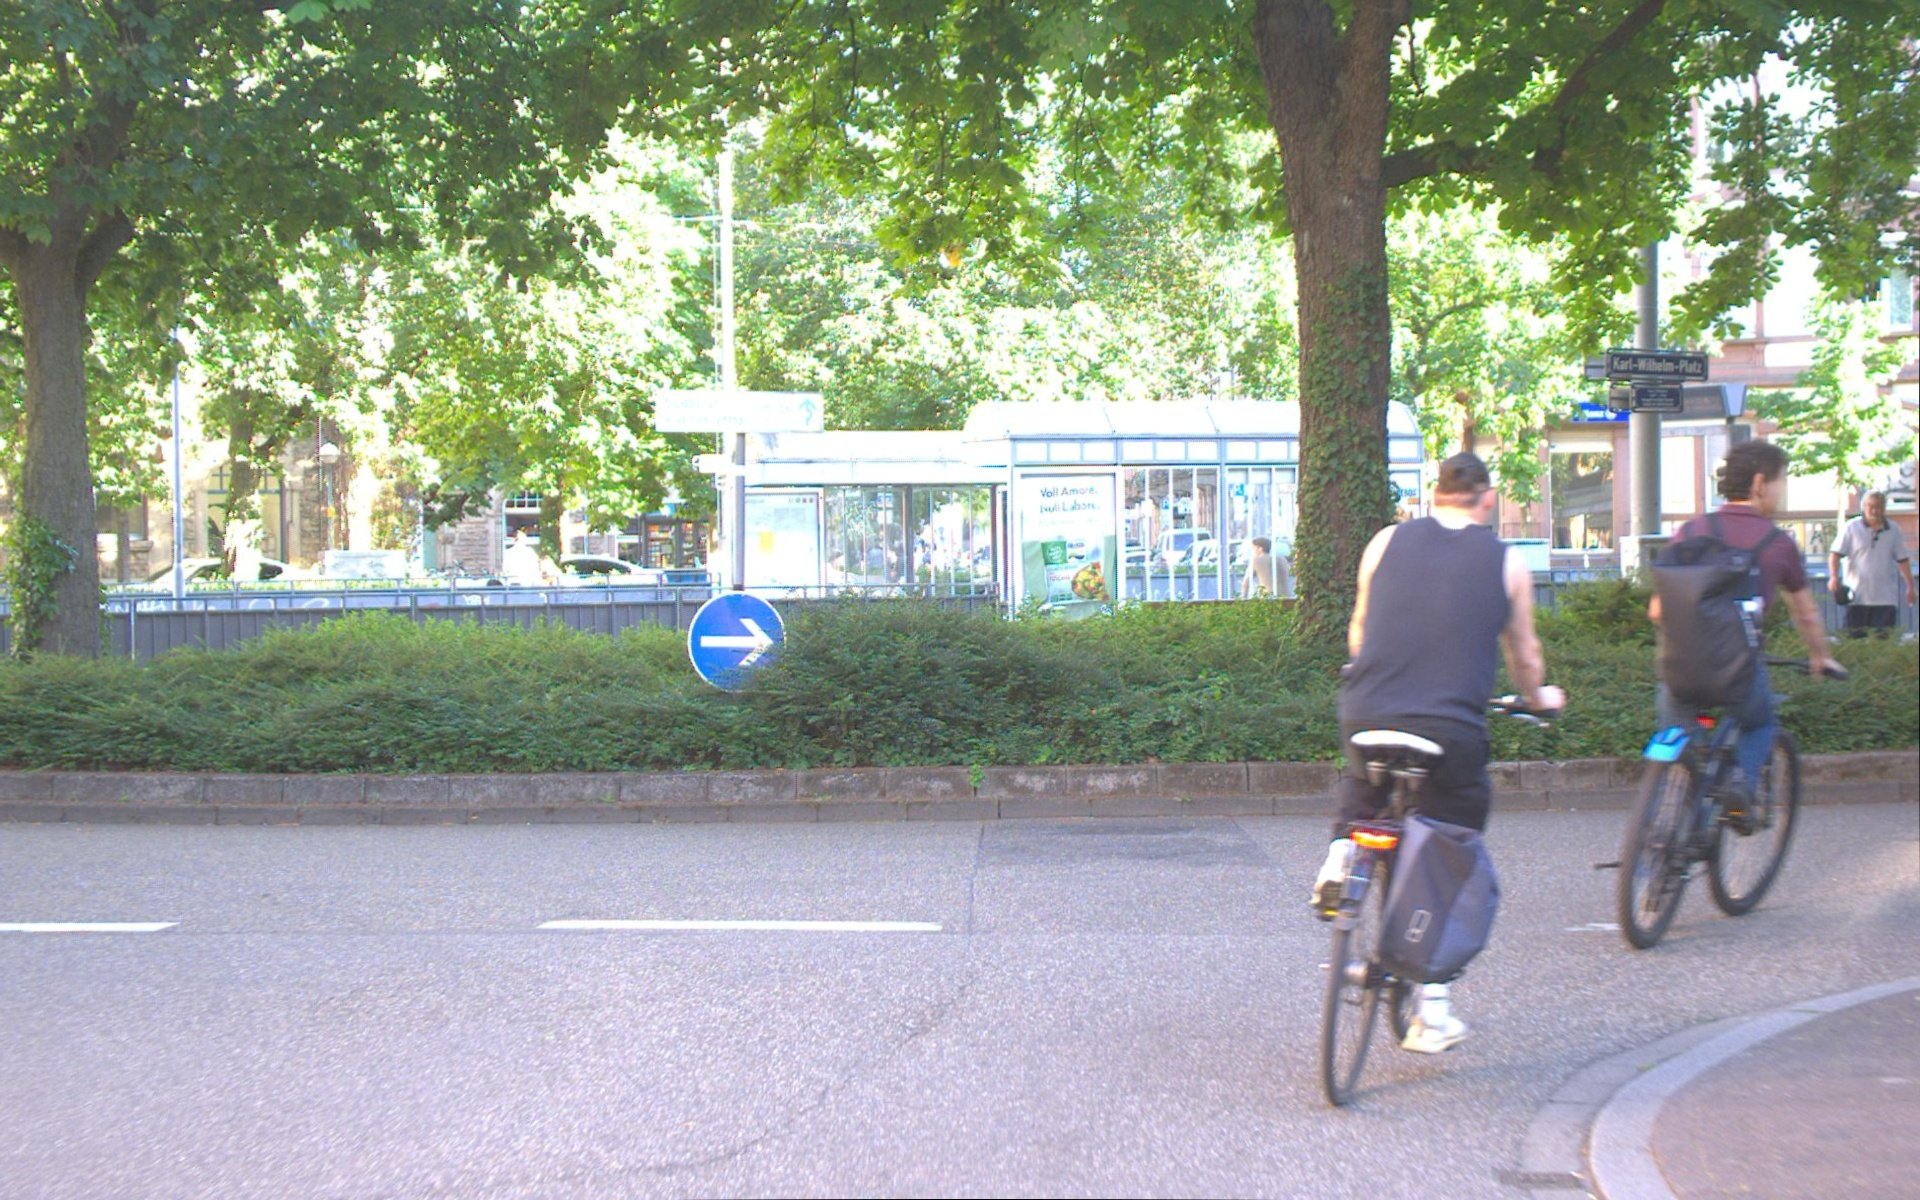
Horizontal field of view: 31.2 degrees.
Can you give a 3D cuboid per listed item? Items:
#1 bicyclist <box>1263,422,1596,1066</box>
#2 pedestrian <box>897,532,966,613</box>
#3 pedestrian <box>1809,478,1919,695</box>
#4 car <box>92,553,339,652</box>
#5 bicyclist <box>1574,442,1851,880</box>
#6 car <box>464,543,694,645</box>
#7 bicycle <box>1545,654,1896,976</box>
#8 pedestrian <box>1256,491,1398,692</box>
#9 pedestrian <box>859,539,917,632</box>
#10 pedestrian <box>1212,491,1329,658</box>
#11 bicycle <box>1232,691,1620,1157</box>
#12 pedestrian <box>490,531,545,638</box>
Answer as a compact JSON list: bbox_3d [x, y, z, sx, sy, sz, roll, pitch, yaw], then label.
[{"bbox_3d":[1.313,0.371,9.495,0.753,1.676,0.912,-1,1,17],"label":"bicyclist"},{"bbox_3d":[-0.579,-0.561,69.760,1.002,1.625,1.063,-1,1,26],"label":"pedestrian"},{"bbox_3d":[7.227,-0.115,27.188,0.916,1.678,0.780,-1,1,10],"label":"pedestrian"},{"bbox_3d":[-13.554,0.022,62.721,3.938,1.673,1.953,-2,2,-44],"label":"car"},{"bbox_3d":[2.740,0.211,12.459,0.672,1.509,1.067,-1,0,29],"label":"bicyclist"},{"bbox_3d":[-7.410,-0.138,66.876,3.986,1.864,2.000,-2,1,-26],"label":"car"},{"bbox_3d":[2.823,0.740,12.589,0.675,1.050,2.058,-1,0,29],"label":"bicycle"},{"bbox_3d":[3.125,-0.077,29.283,0.898,1.678,0.818,-1,1,33],"label":"pedestrian"},{"bbox_3d":[-1.203,-0.253,57.711,0.809,1.538,0.821,1,1,-12],"label":"pedestrian"},{"bbox_3d":[3.570,-0.300,39.612,1.016,1.891,0.912,-1,1,-22],"label":"pedestrian"},{"bbox_3d":[1.341,0.825,9.541,0.738,1.008,2.060,2,2,16],"label":"bicycle"},{"bbox_3d":[-7.101,-0.251,55.146,0.701,1.689,0.671,1,1,-22],"label":"pedestrian"}]
